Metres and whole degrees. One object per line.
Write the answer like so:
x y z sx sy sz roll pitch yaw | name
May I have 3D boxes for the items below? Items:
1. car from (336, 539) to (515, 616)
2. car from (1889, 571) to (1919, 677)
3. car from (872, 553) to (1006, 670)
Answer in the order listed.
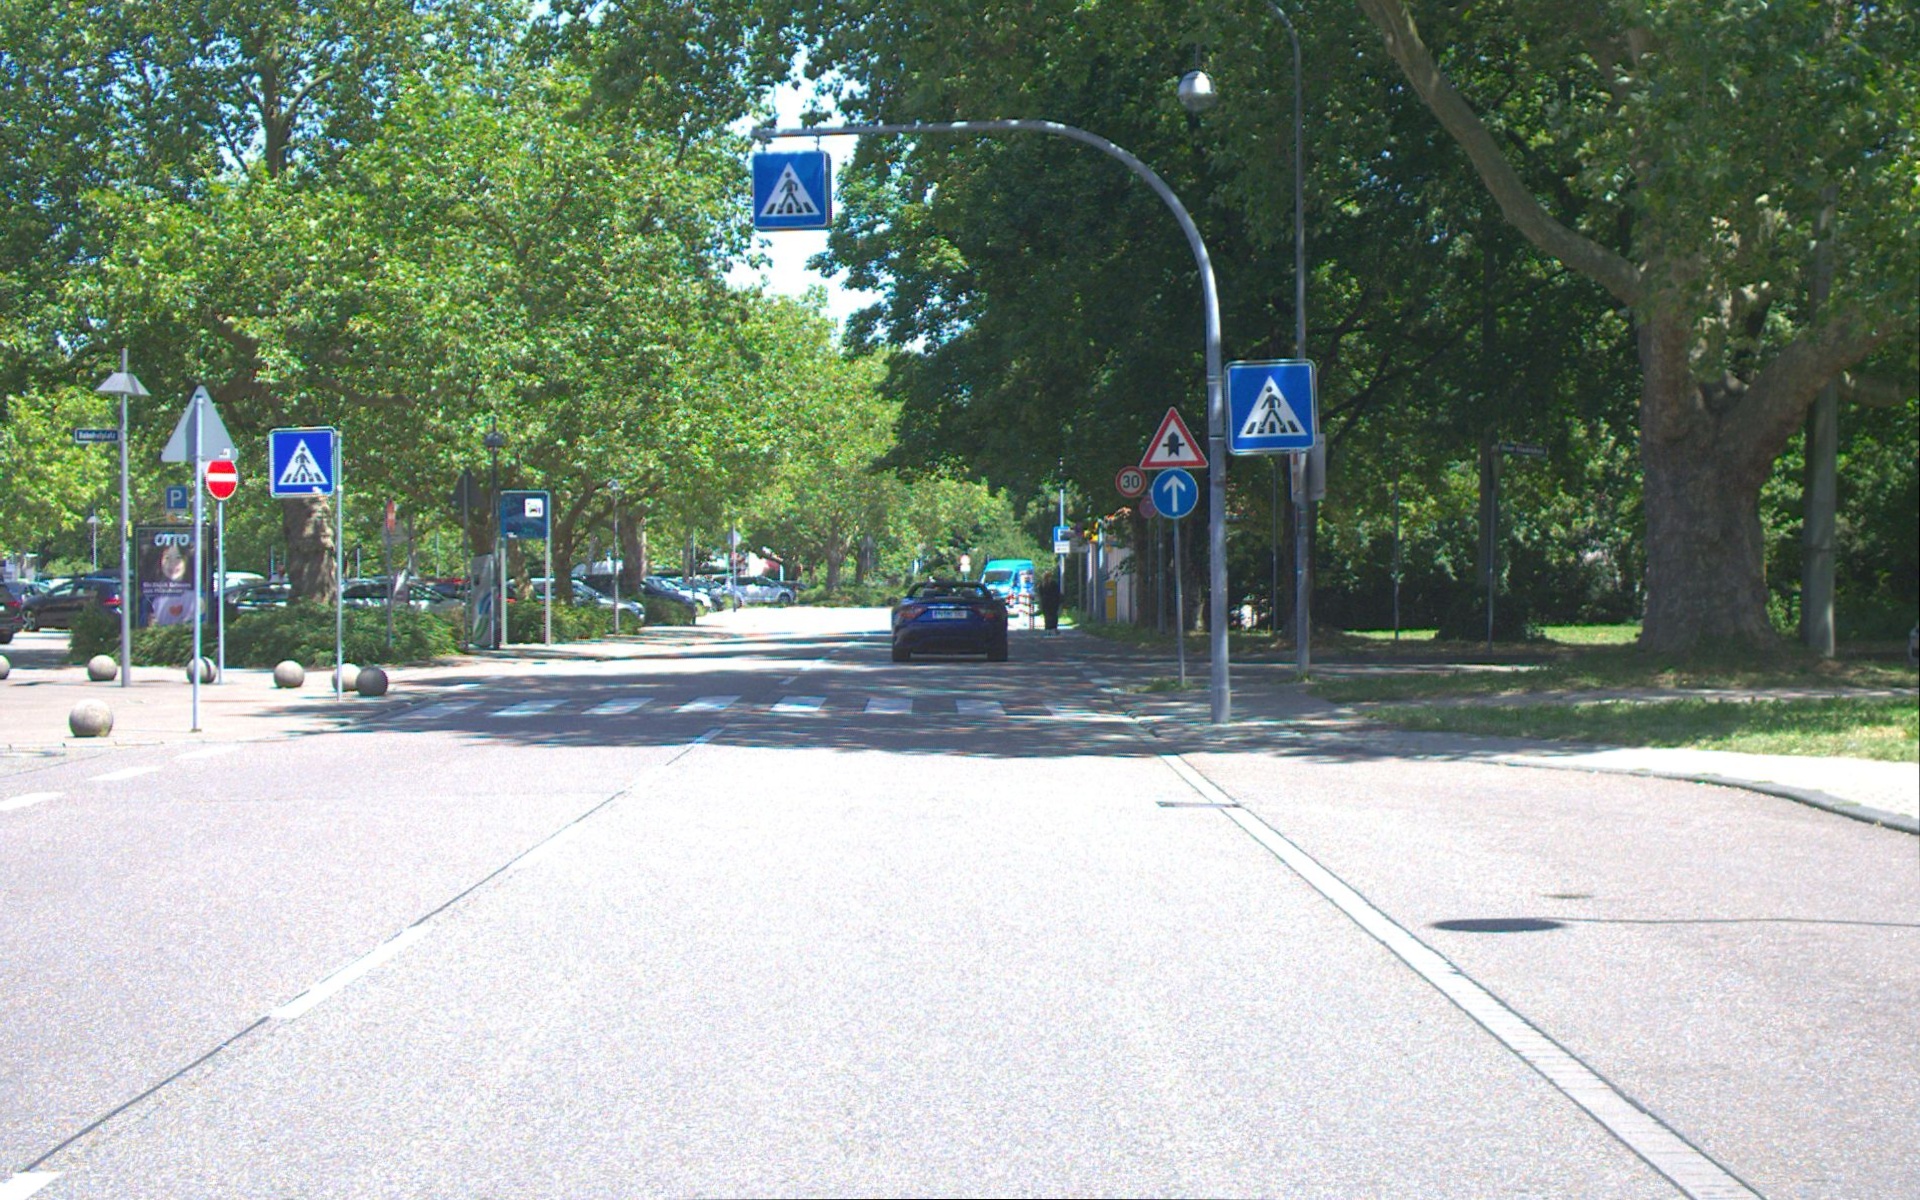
-12.857 -0.532 82.701 3.986 1.775 2.000 0 -1 -18 | car
15.326 0.313 48.139 4.105 1.461 2.000 0 1 2 | car
-0.349 0.177 56.836 2.125 1.842 4.048 0 0 0 | car
